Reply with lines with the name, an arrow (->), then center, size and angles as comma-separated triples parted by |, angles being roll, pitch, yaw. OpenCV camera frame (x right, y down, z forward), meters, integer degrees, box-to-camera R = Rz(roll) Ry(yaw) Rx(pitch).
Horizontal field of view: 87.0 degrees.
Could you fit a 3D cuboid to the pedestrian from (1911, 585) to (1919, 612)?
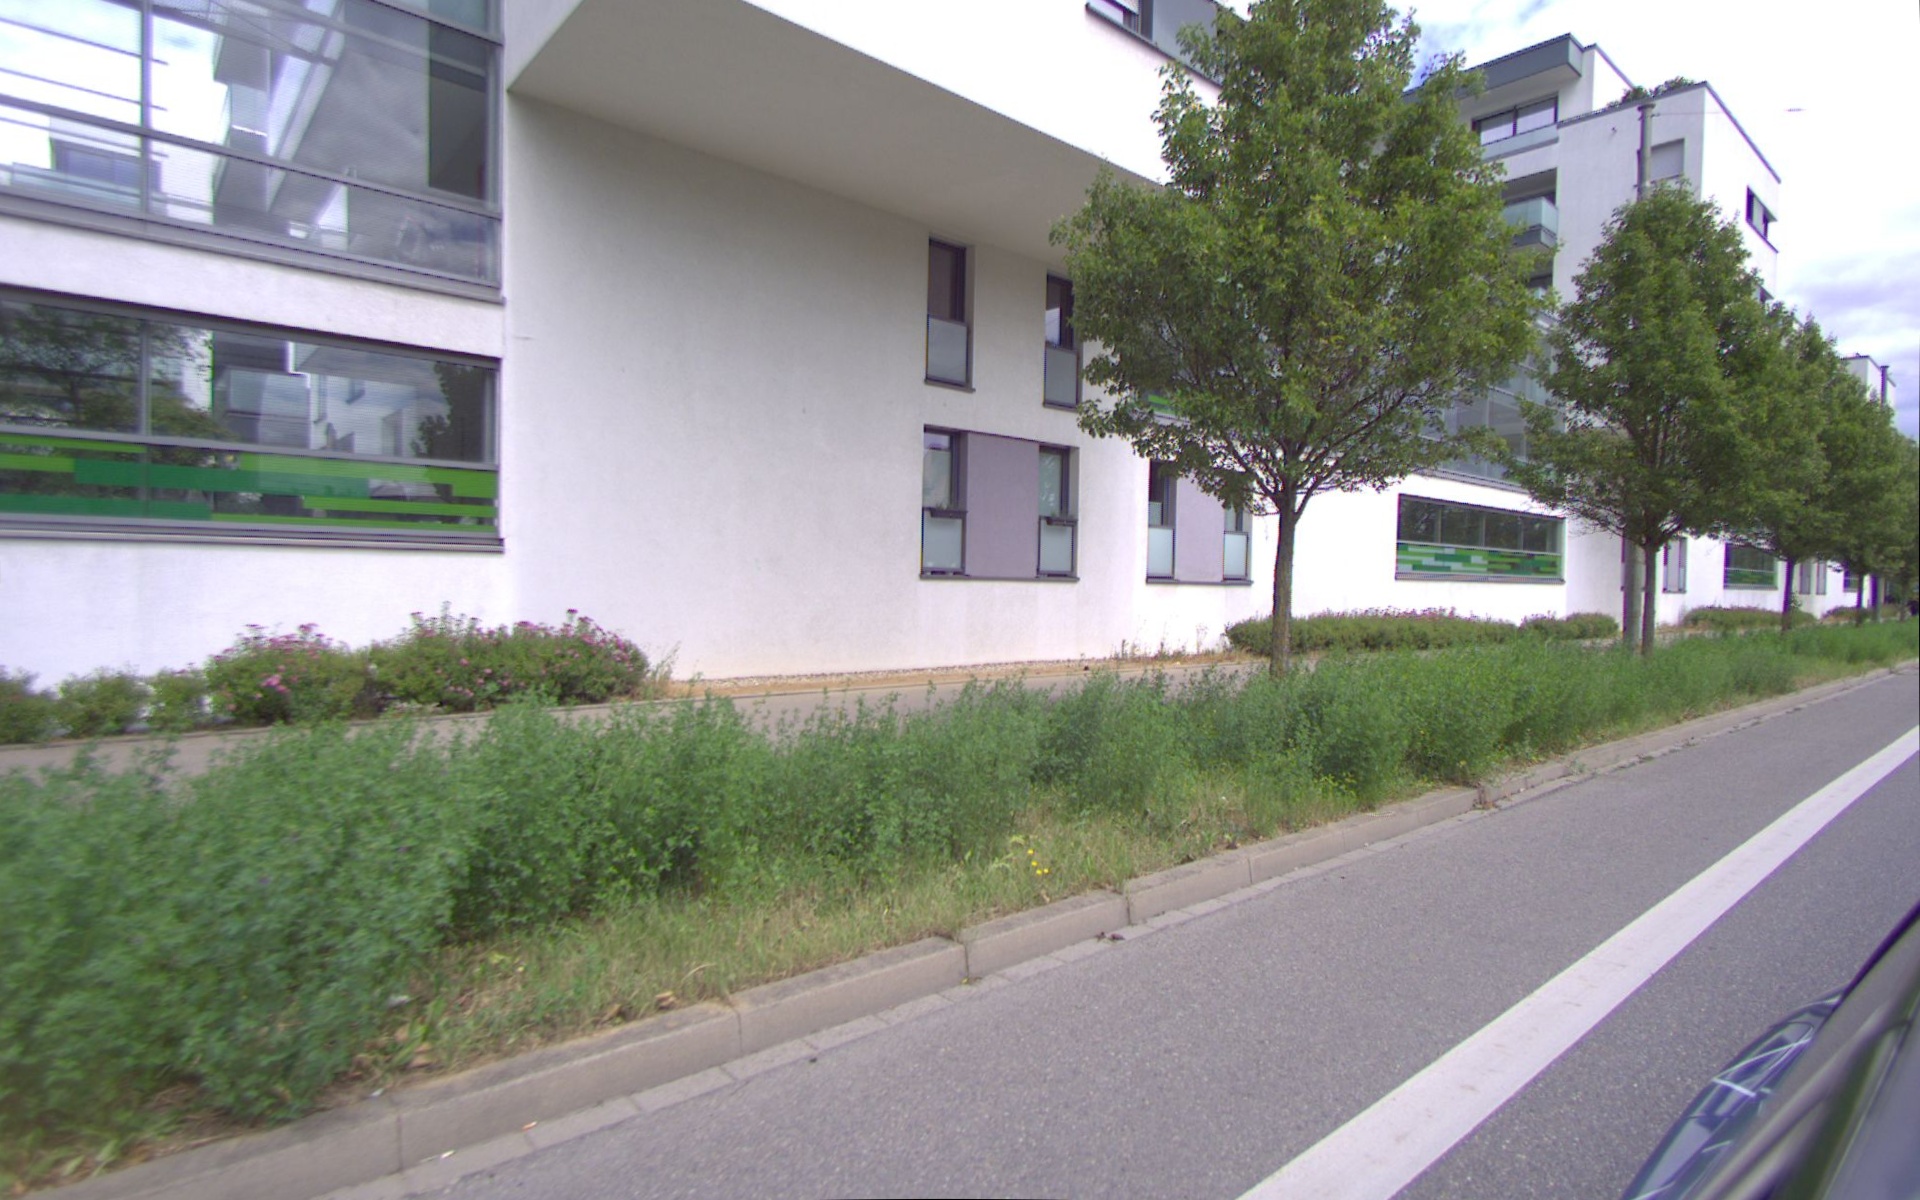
pedestrian -> 66.231, -0.095, 69.850 | 0.613, 1.864, 0.585 | -1, 0, 22
